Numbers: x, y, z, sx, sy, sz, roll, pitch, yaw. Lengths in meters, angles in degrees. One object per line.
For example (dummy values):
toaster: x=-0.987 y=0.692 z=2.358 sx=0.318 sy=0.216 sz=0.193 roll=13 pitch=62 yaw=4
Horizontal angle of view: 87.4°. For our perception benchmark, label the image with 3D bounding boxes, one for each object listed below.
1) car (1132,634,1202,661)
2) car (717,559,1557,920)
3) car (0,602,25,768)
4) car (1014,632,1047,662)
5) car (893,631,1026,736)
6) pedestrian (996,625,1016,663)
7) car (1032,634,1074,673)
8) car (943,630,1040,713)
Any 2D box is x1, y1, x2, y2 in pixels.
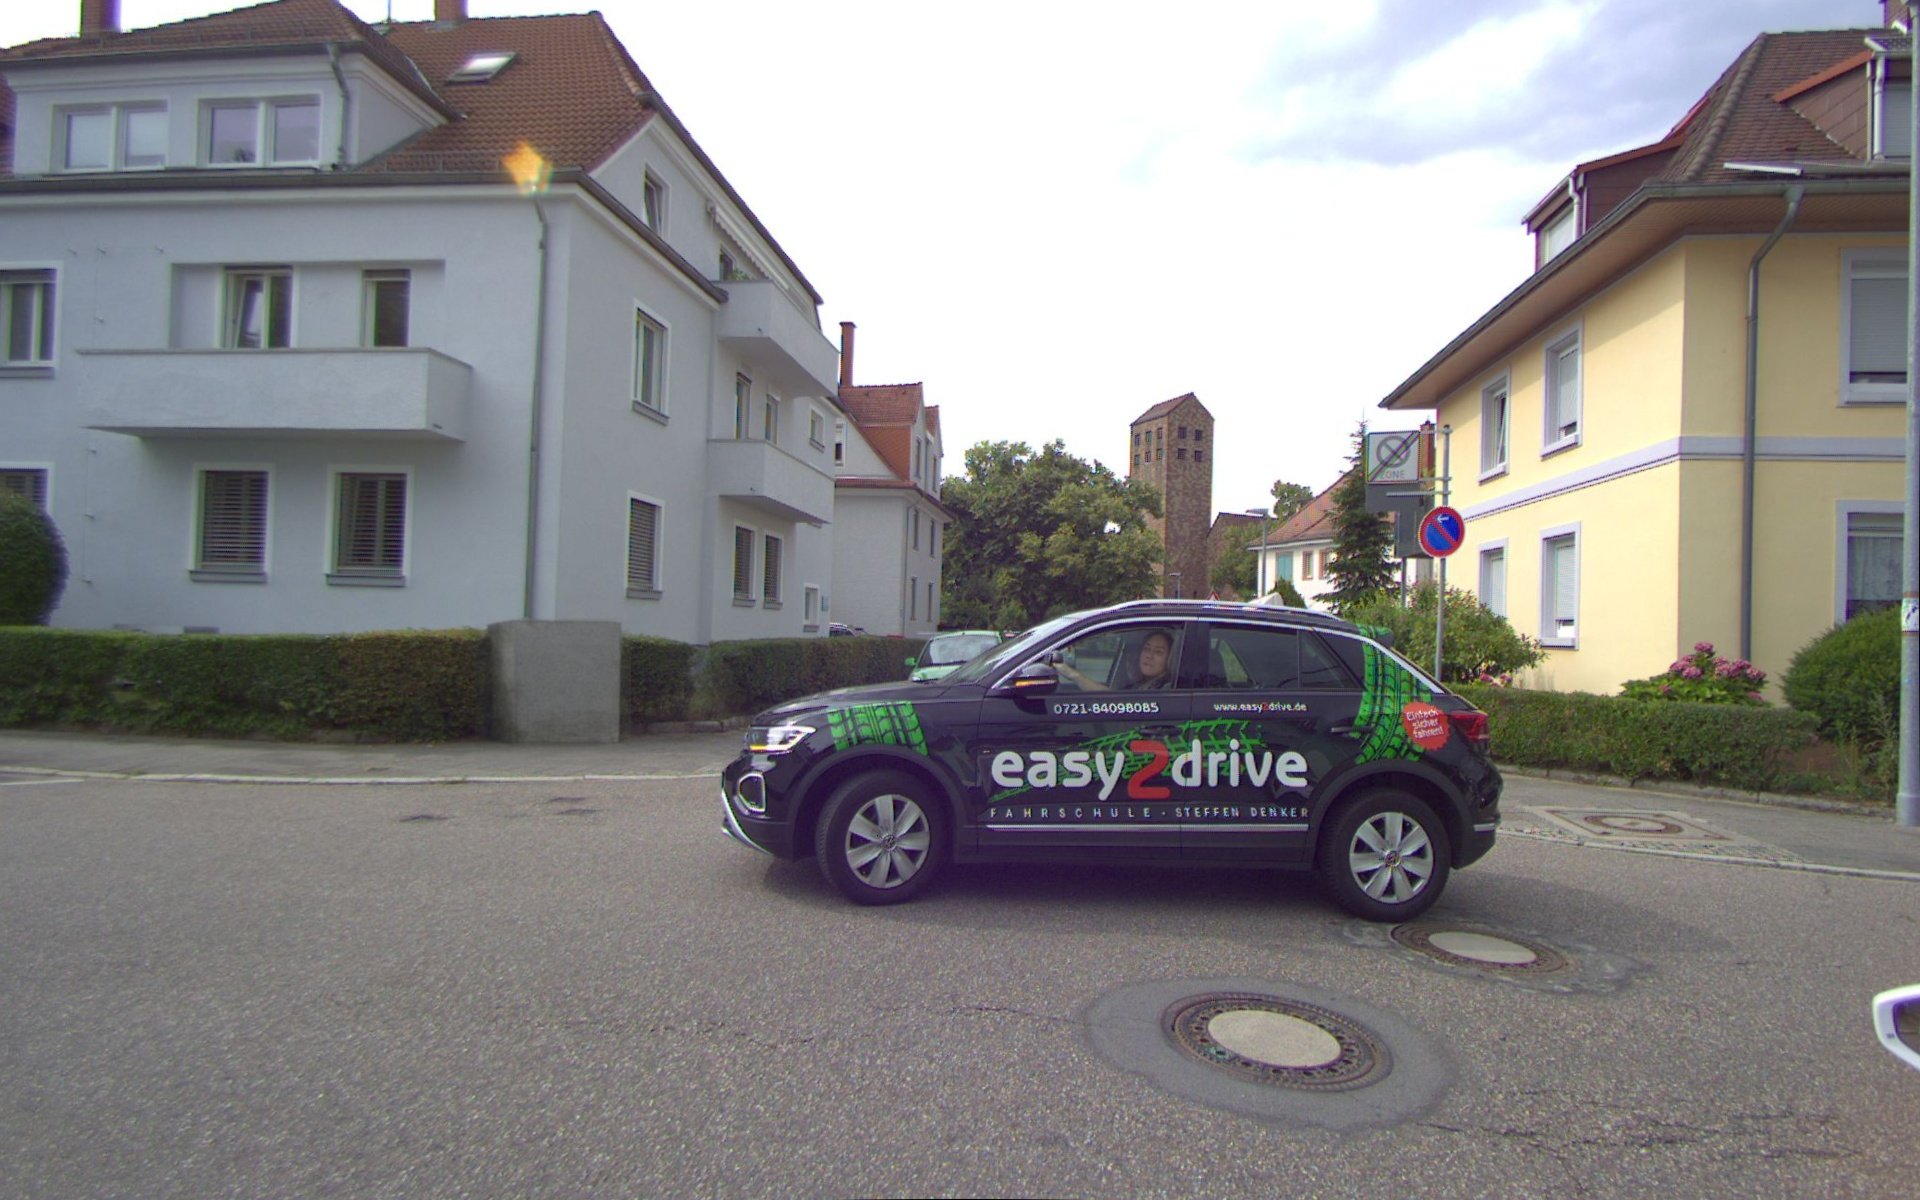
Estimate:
car: x=12.975 y=2.946 z=63.189 sx=4.142 sy=1.483 sz=1.685 roll=2 pitch=0 yaw=8
car: x=0.851 y=0.704 z=5.669 sx=3.965 sy=1.540 sz=1.822 roll=3 pitch=-2 yaw=-3
car: x=-10.716 y=0.680 z=8.441 sx=4.091 sy=1.491 sz=1.861 roll=2 pitch=-2 yaw=5
car: x=3.735 y=2.503 z=53.754 sx=1.618 sy=1.515 sz=3.483 roll=-2 pitch=-2 yaw=2
car: x=0.096 y=1.232 z=15.763 sx=1.617 sy=1.440 sz=3.484 roll=-2 pitch=-2 yaw=7
pedestrian: x=2.335 y=2.235 z=50.925 sx=0.866 sy=1.903 sz=1.079 roll=1 pitch=-1 yaw=8
car: x=3.942 y=2.215 z=42.142 sx=1.617 sy=1.515 sz=3.484 roll=-2 pitch=-2 yaw=7
car: x=0.712 y=1.405 z=20.538 sx=1.617 sy=1.515 sz=3.484 roll=-2 pitch=-2 yaw=7
